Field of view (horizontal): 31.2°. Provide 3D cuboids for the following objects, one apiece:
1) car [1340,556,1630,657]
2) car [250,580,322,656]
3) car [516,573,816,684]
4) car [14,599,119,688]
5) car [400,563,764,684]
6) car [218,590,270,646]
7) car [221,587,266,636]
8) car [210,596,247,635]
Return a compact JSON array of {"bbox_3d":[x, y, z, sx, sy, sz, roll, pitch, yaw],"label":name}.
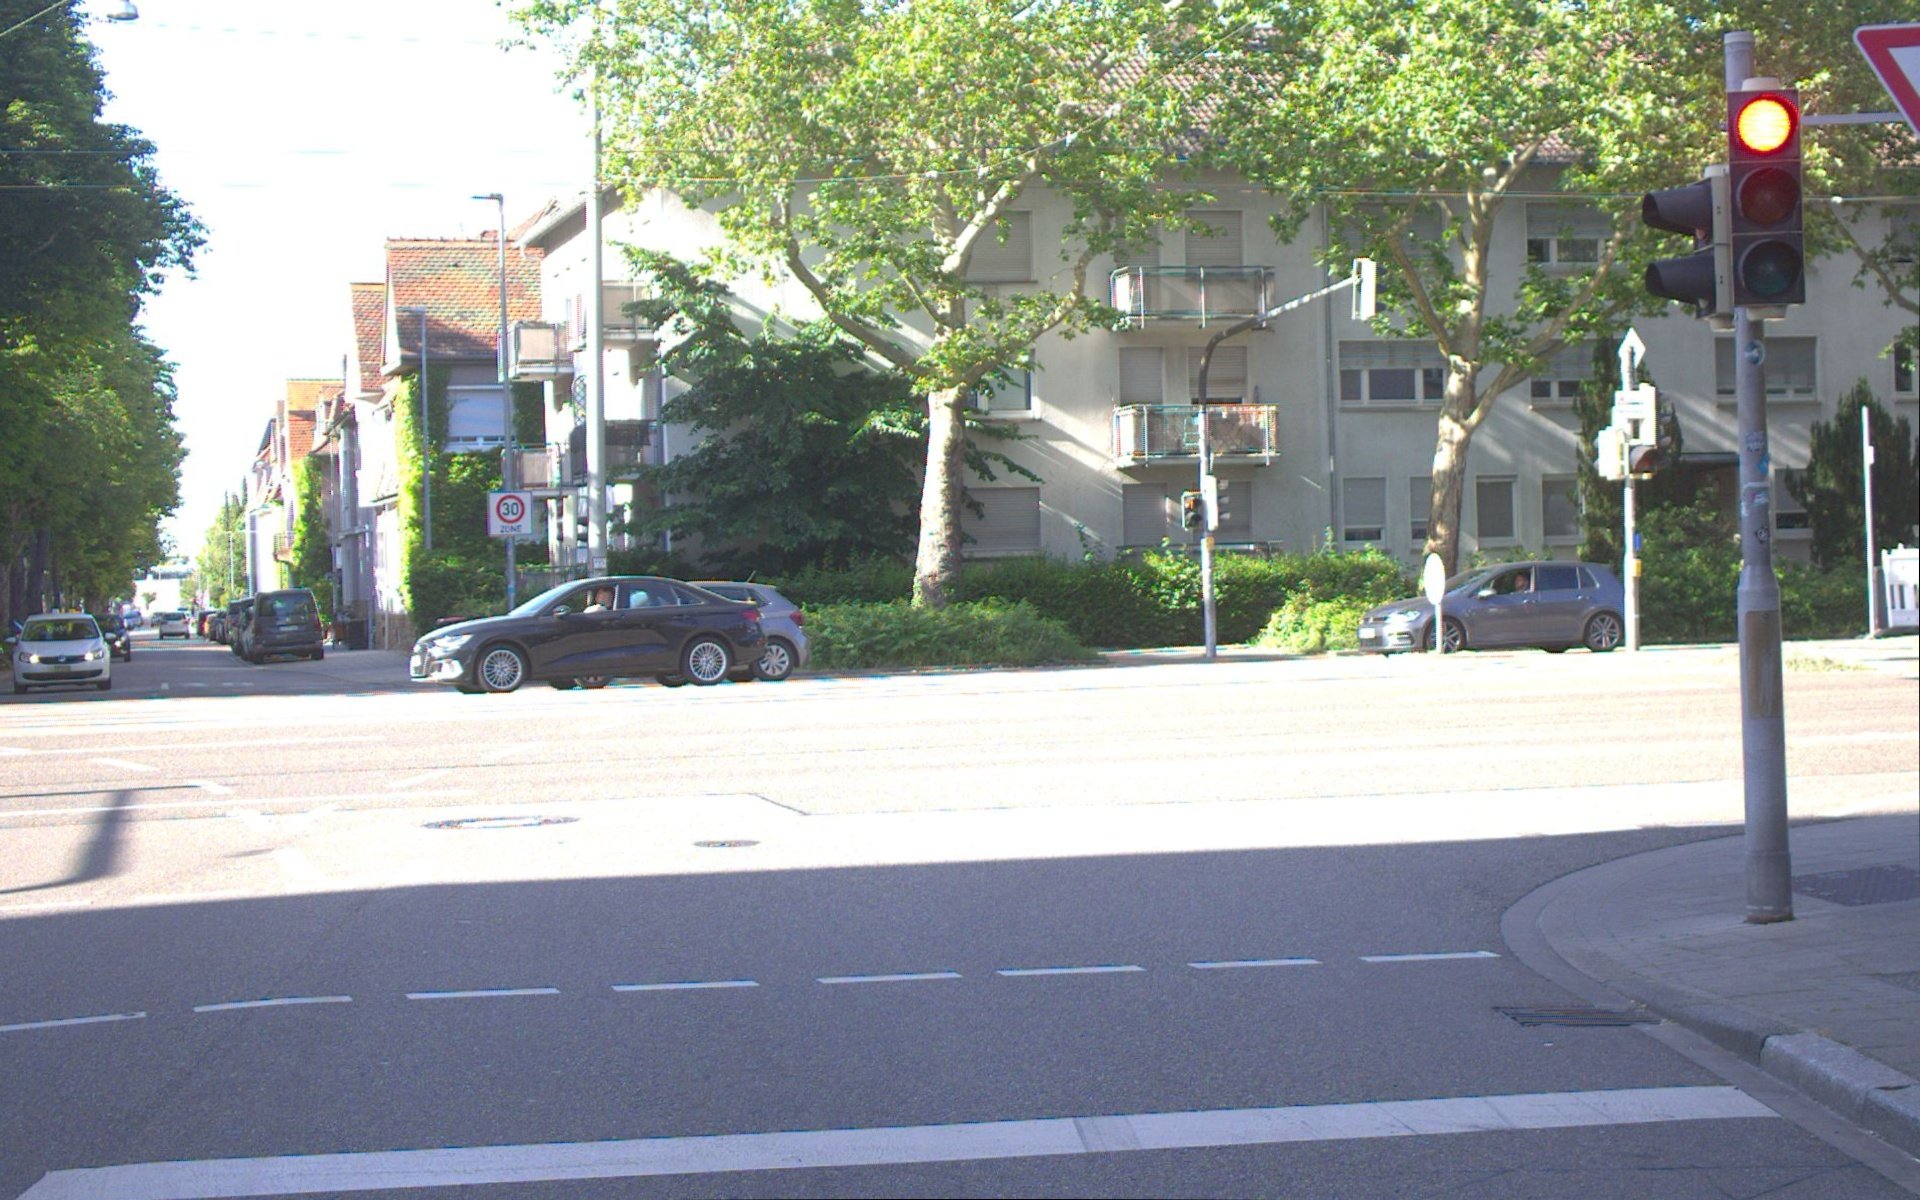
[{"bbox_3d":[7.852,0.082,51.474,3.938,1.395,1.646,-1,1,-13],"label":"car"},{"bbox_3d":[-18.539,0.470,94.446,1.772,1.912,3.535,-3,1,-12],"label":"car"},{"bbox_3d":[-4.046,0.371,47.320,3.780,1.395,1.646,-1,1,-21],"label":"car"},{"bbox_3d":[-16.825,0.796,64.834,1.698,1.478,3.535,-3,1,-12],"label":"car"},{"bbox_3d":[-4.777,0.276,43.434,4.266,1.395,1.646,-1,1,-21],"label":"car"},{"bbox_3d":[-26.698,0.665,128.150,1.772,1.912,3.535,-3,1,-12],"label":"car"},{"bbox_3d":[-30.528,0.484,146.435,1.772,1.912,3.535,-3,1,-12],"label":"car"},{"bbox_3d":[-38.464,0.811,180.817,1.772,1.912,3.535,-3,1,-12],"label":"car"}]
